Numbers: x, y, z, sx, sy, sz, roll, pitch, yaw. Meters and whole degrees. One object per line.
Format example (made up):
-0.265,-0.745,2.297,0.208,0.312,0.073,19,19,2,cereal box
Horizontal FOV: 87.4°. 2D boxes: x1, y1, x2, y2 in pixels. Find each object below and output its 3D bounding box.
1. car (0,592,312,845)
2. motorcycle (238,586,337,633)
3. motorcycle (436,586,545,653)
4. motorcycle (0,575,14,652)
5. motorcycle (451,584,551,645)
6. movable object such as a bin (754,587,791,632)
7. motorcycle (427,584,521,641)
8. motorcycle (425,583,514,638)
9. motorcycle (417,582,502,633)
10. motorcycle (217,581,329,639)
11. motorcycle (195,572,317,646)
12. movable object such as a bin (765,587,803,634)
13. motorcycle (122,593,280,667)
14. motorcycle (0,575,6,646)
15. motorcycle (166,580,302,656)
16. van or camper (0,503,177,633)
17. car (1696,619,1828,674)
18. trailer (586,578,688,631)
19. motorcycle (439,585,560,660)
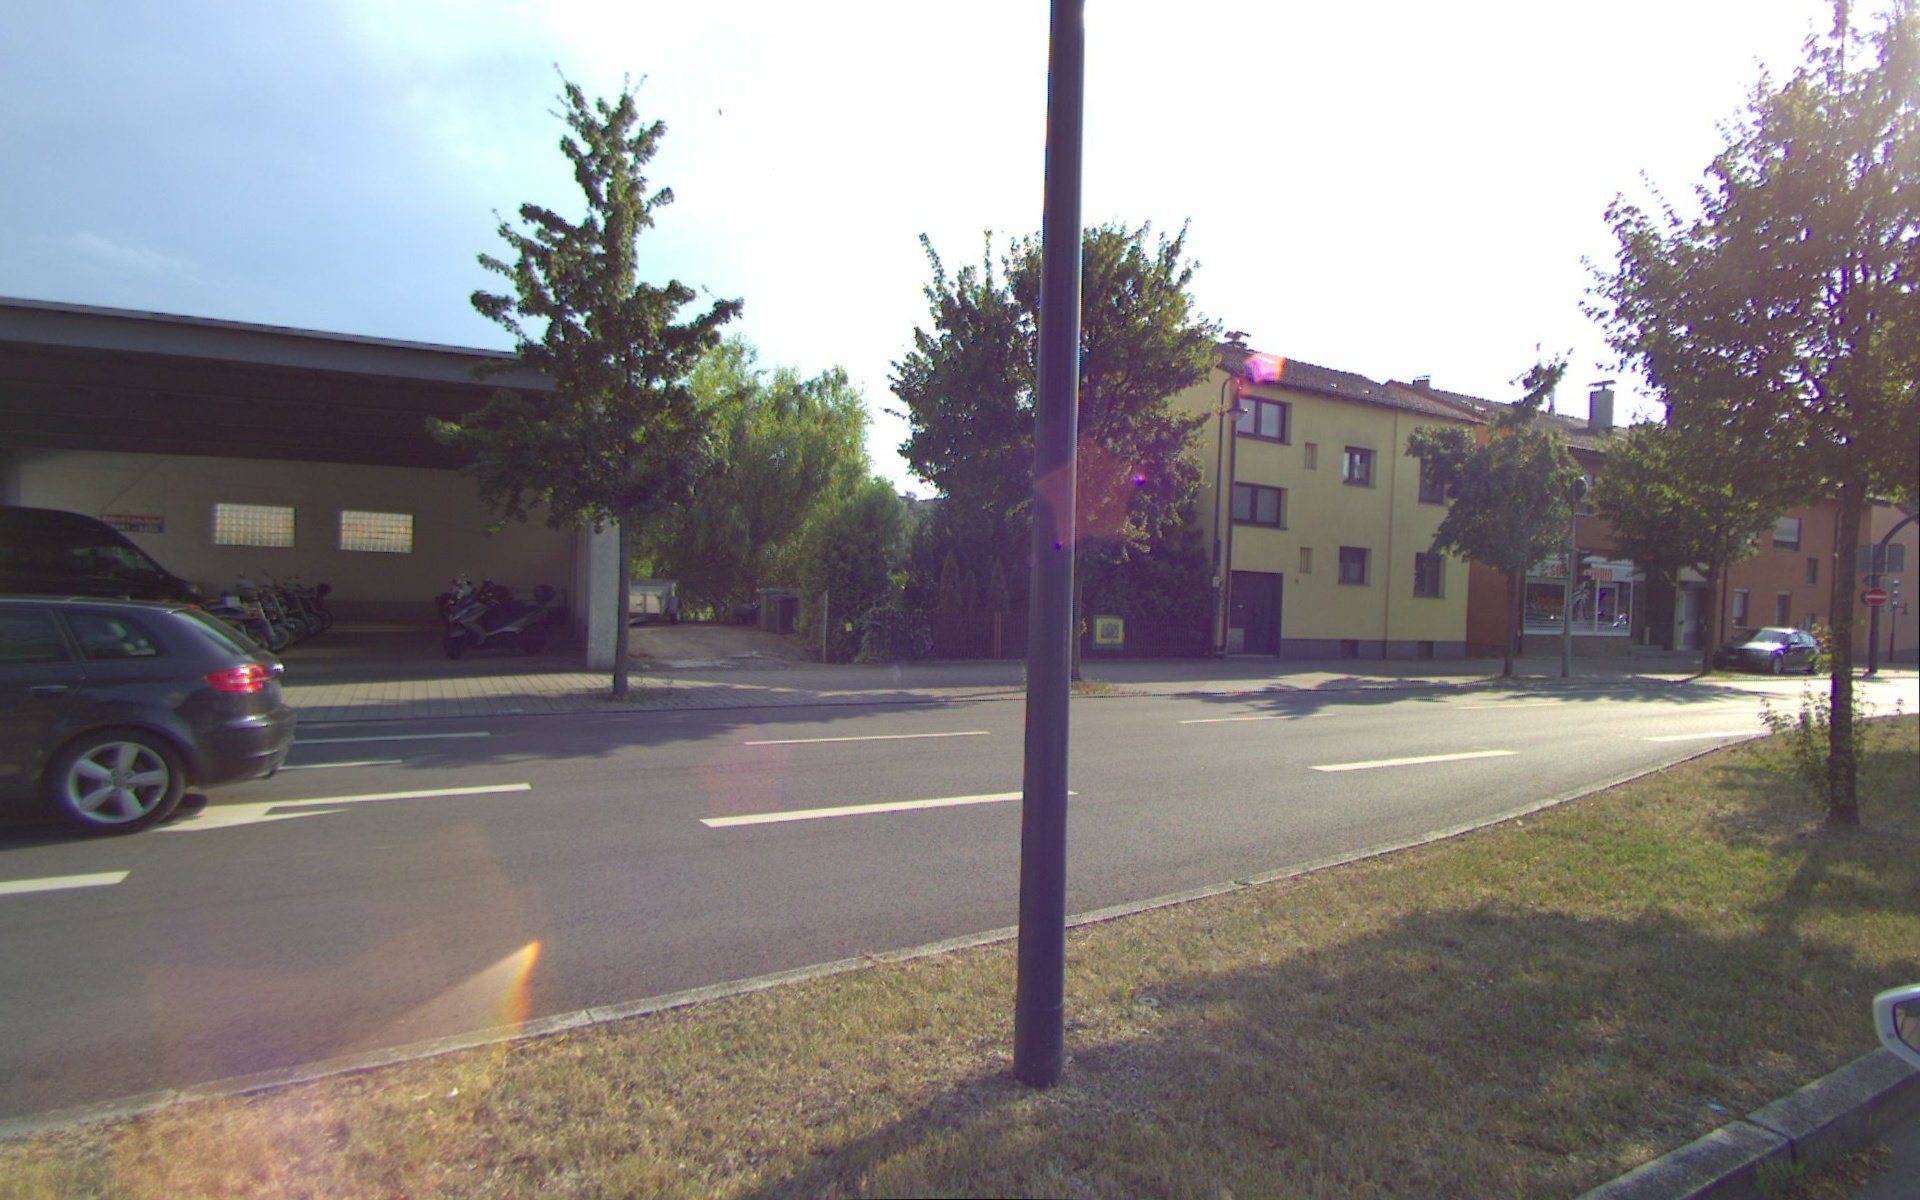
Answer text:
-6.366,0.650,5.980,4.143,1.405,1.636,1,0,-32,car
-17.069,0.236,25.525,2.111,1.138,0.563,1,0,0,motorcycle
-9.668,0.394,20.778,0.553,1.325,2.086,1,0,30,motorcycle
-17.242,0.221,16.769,0.637,1.329,2.007,1,0,23,motorcycle
-10.497,0.337,23.056,0.612,1.325,2.086,1,0,30,motorcycle
-4.782,0.237,25.588,0.712,1.101,0.727,1,3,-30,movable object such as a bin
-11.802,0.311,24.457,0.573,1.325,2.086,1,0,30,motorcycle
-12.569,0.271,25.800,0.553,1.325,2.086,1,0,30,motorcycle
-13.510,0.205,27.167,0.553,1.325,2.086,1,0,30,motorcycle
-15.832,0.224,23.177,2.111,1.275,0.647,1,0,0,motorcycle
-14.711,0.190,21.006,2.111,1.468,0.594,1,0,0,motorcycle
-4.341,0.266,24.816,0.688,1.101,0.727,1,3,-30,movable object such as a bin
-12.510,0.491,16.596,2.111,1.139,0.631,1,0,0,motorcycle
-18.637,0.187,18.097,0.637,1.329,2.007,1,0,23,motorcycle
-13.547,0.324,18.774,2.111,1.347,0.563,1,0,0,motorcycle
-20.499,-0.676,21.914,1.963,2.716,5.033,1,0,26,van or camper
25.981,1.474,32.546,3.949,1.573,1.836,1,2,-27,car
-8.116,0.066,25.523,1.692,1.199,3.594,1,1,-5,trailer
-8.629,0.418,18.918,0.553,1.325,2.112,1,0,30,motorcycle
